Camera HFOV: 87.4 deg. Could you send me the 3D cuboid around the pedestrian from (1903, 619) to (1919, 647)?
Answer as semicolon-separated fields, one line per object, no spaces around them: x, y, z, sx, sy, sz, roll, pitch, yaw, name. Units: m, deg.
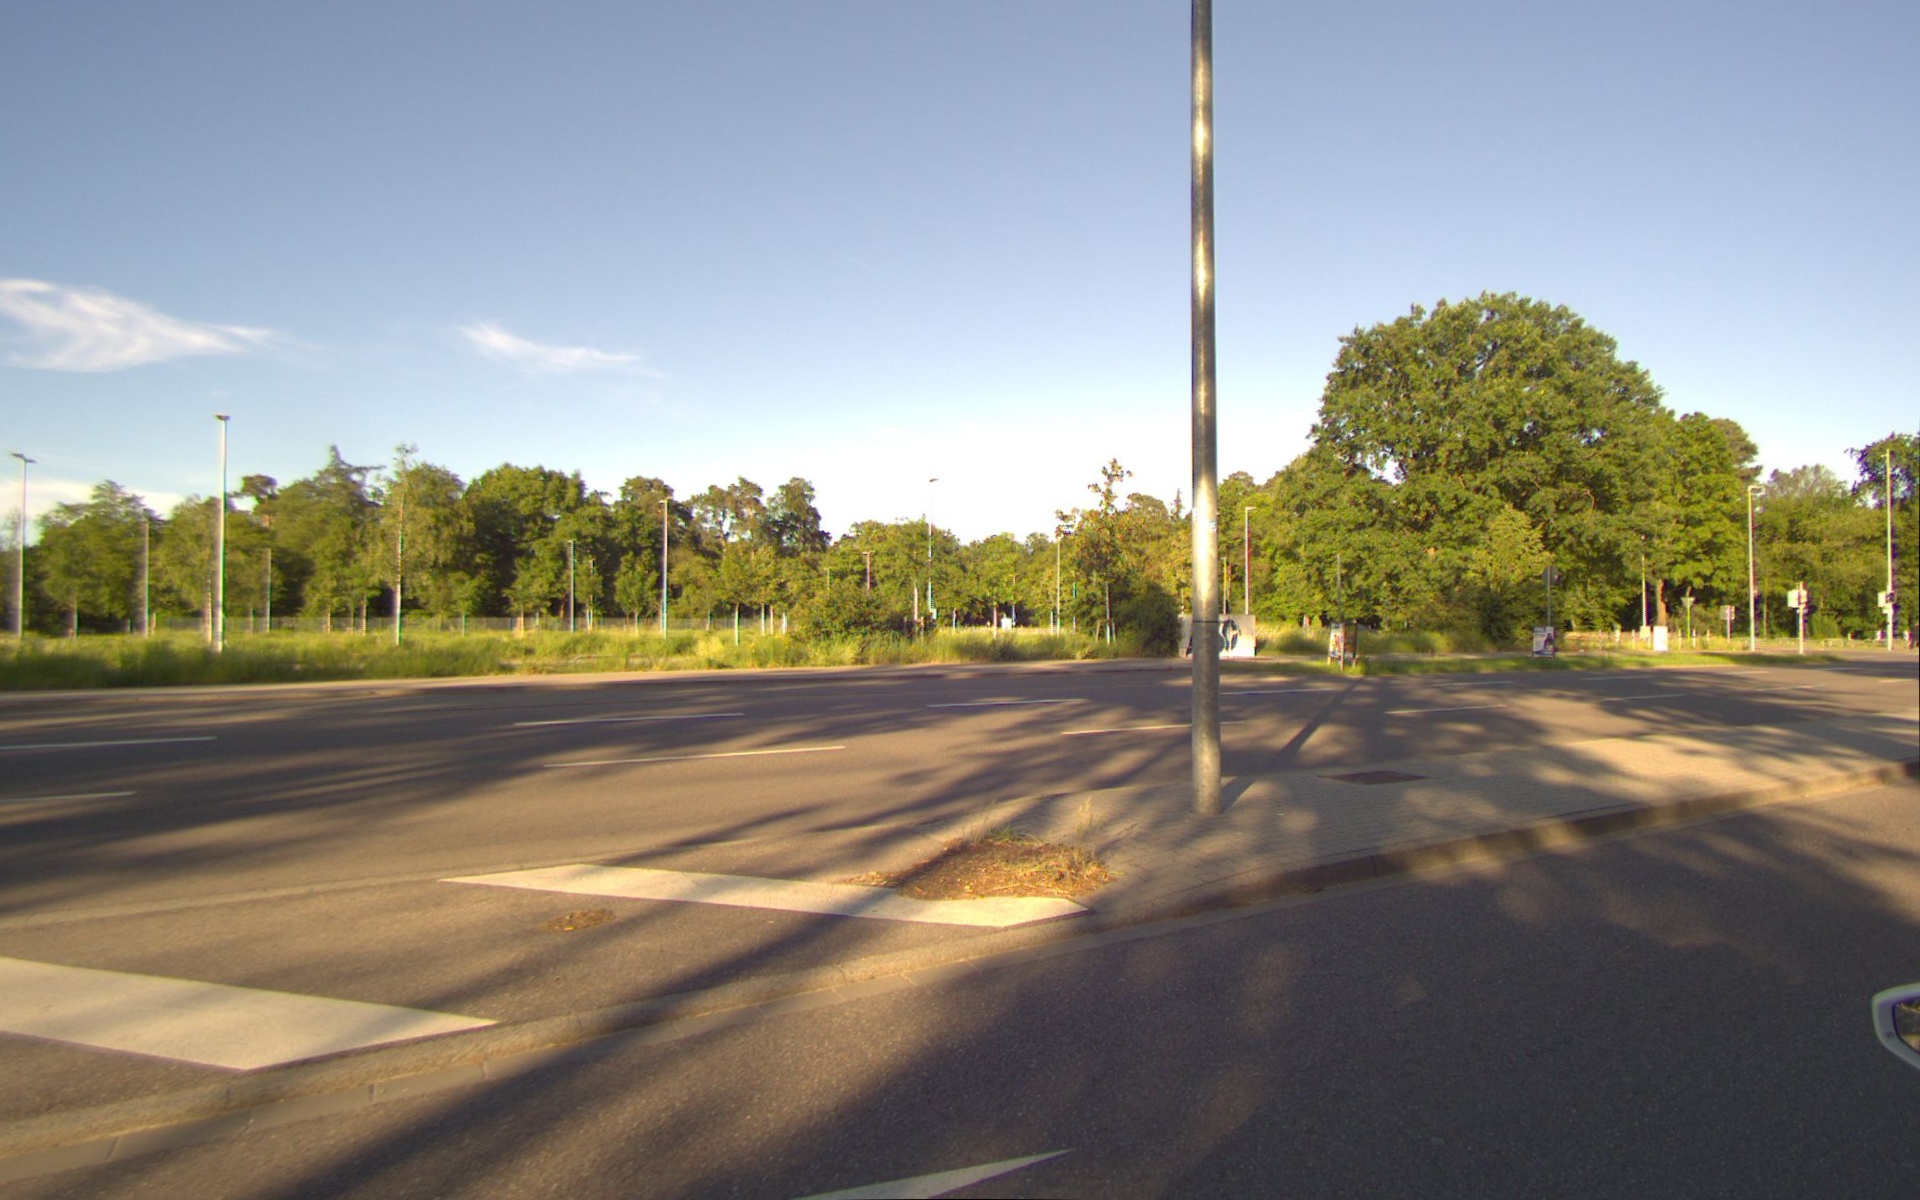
54.987;1.920;57.978;0.636;1.580;0.539;-1;-1;20;pedestrian
